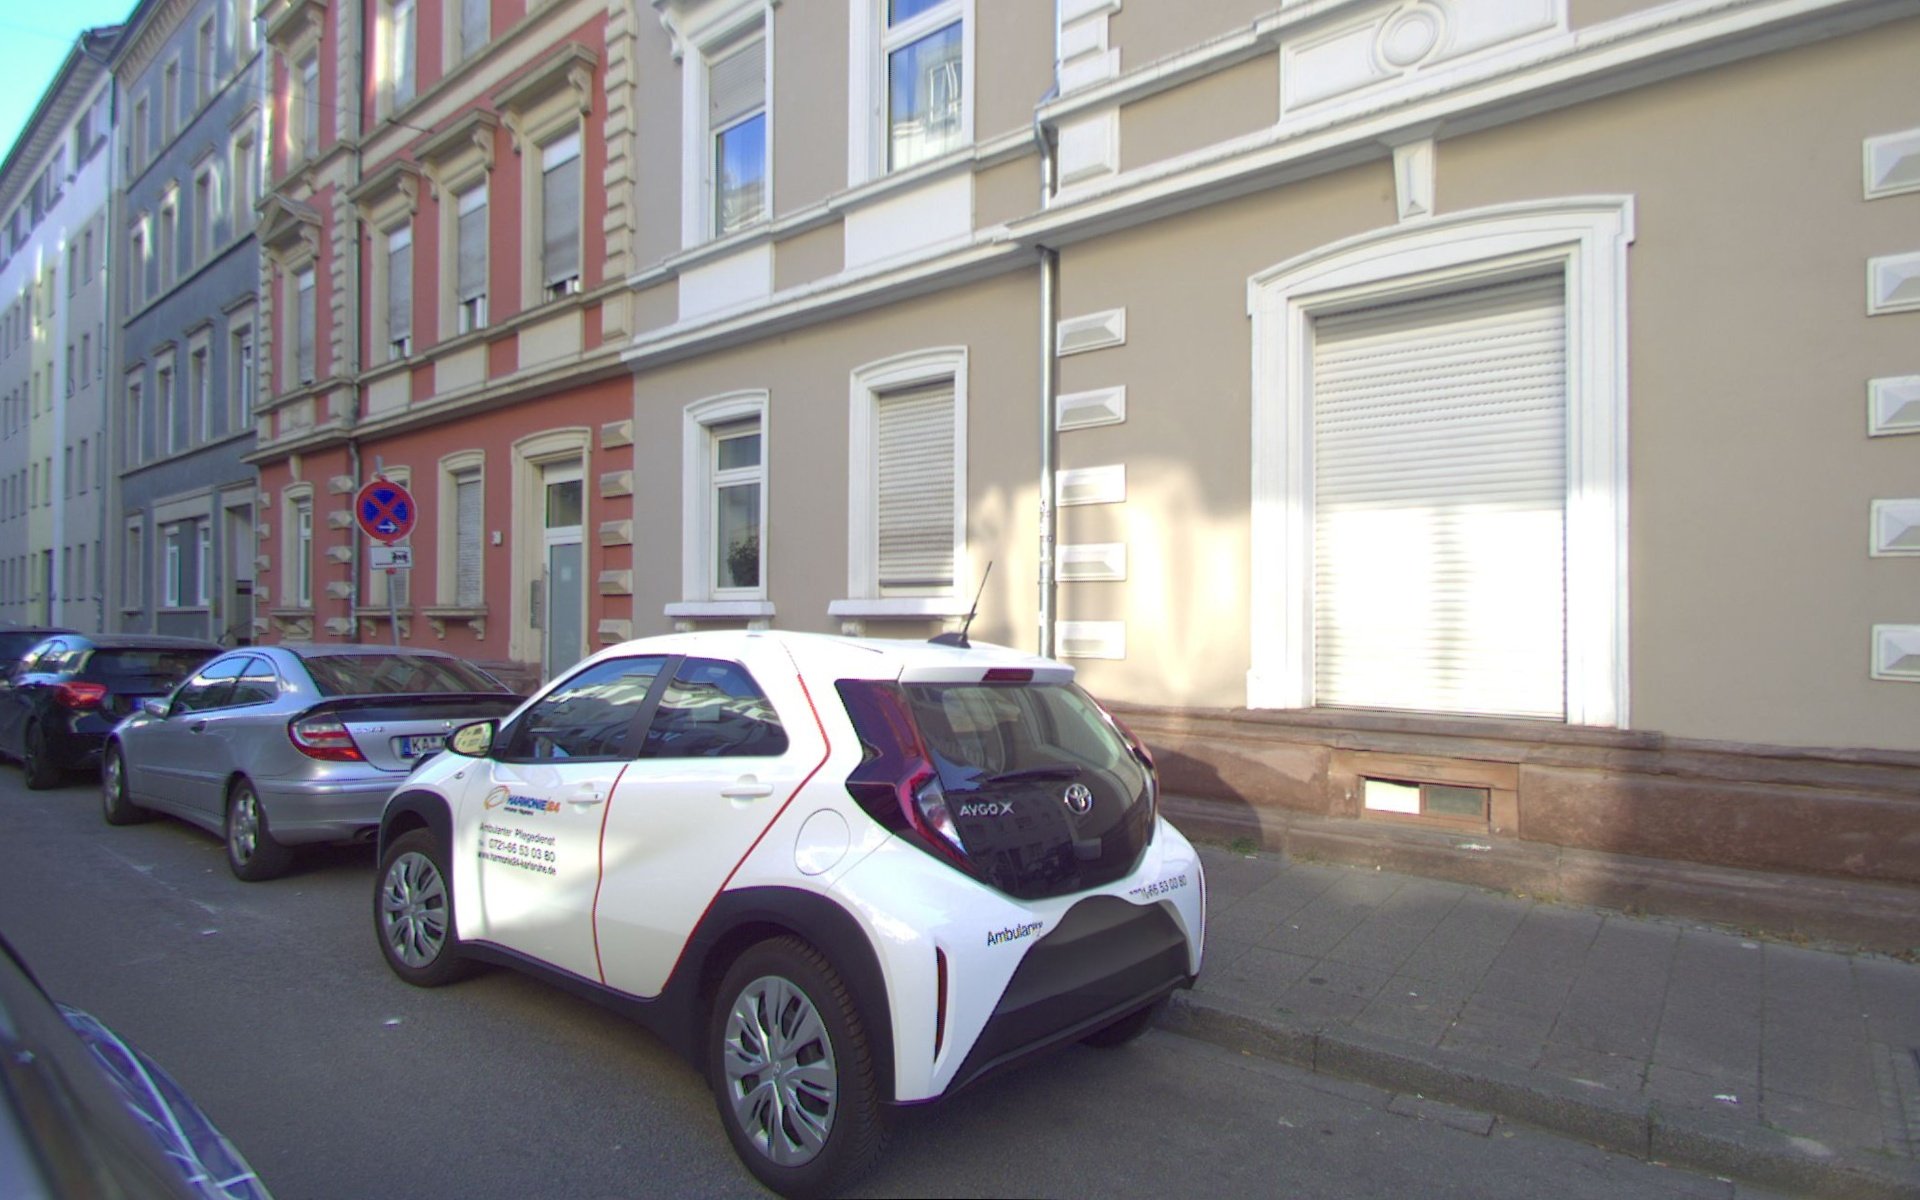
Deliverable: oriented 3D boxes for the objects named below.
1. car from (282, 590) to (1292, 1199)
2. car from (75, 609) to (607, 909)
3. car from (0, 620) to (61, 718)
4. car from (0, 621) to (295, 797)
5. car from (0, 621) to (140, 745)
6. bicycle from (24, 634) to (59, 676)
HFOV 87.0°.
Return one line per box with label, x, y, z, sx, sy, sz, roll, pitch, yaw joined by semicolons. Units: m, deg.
car;-1.037;0.839;4.288;4.263;1.519;1.901;-2;-4;40
car;-4.673;0.933;7.418;4.261;1.572;1.902;-2;-4;38
car;-17.343;1.144;17.475;4.261;1.572;1.902;-2;-4;38
car;-8.958;1.027;10.694;4.261;1.495;1.902;-2;-4;38
car;-13.571;1.118;14.483;4.234;1.572;1.883;-2;-4;38
bicycle;-25.157;1.489;27.711;1.750;1.082;0.446;-1;-1;39
